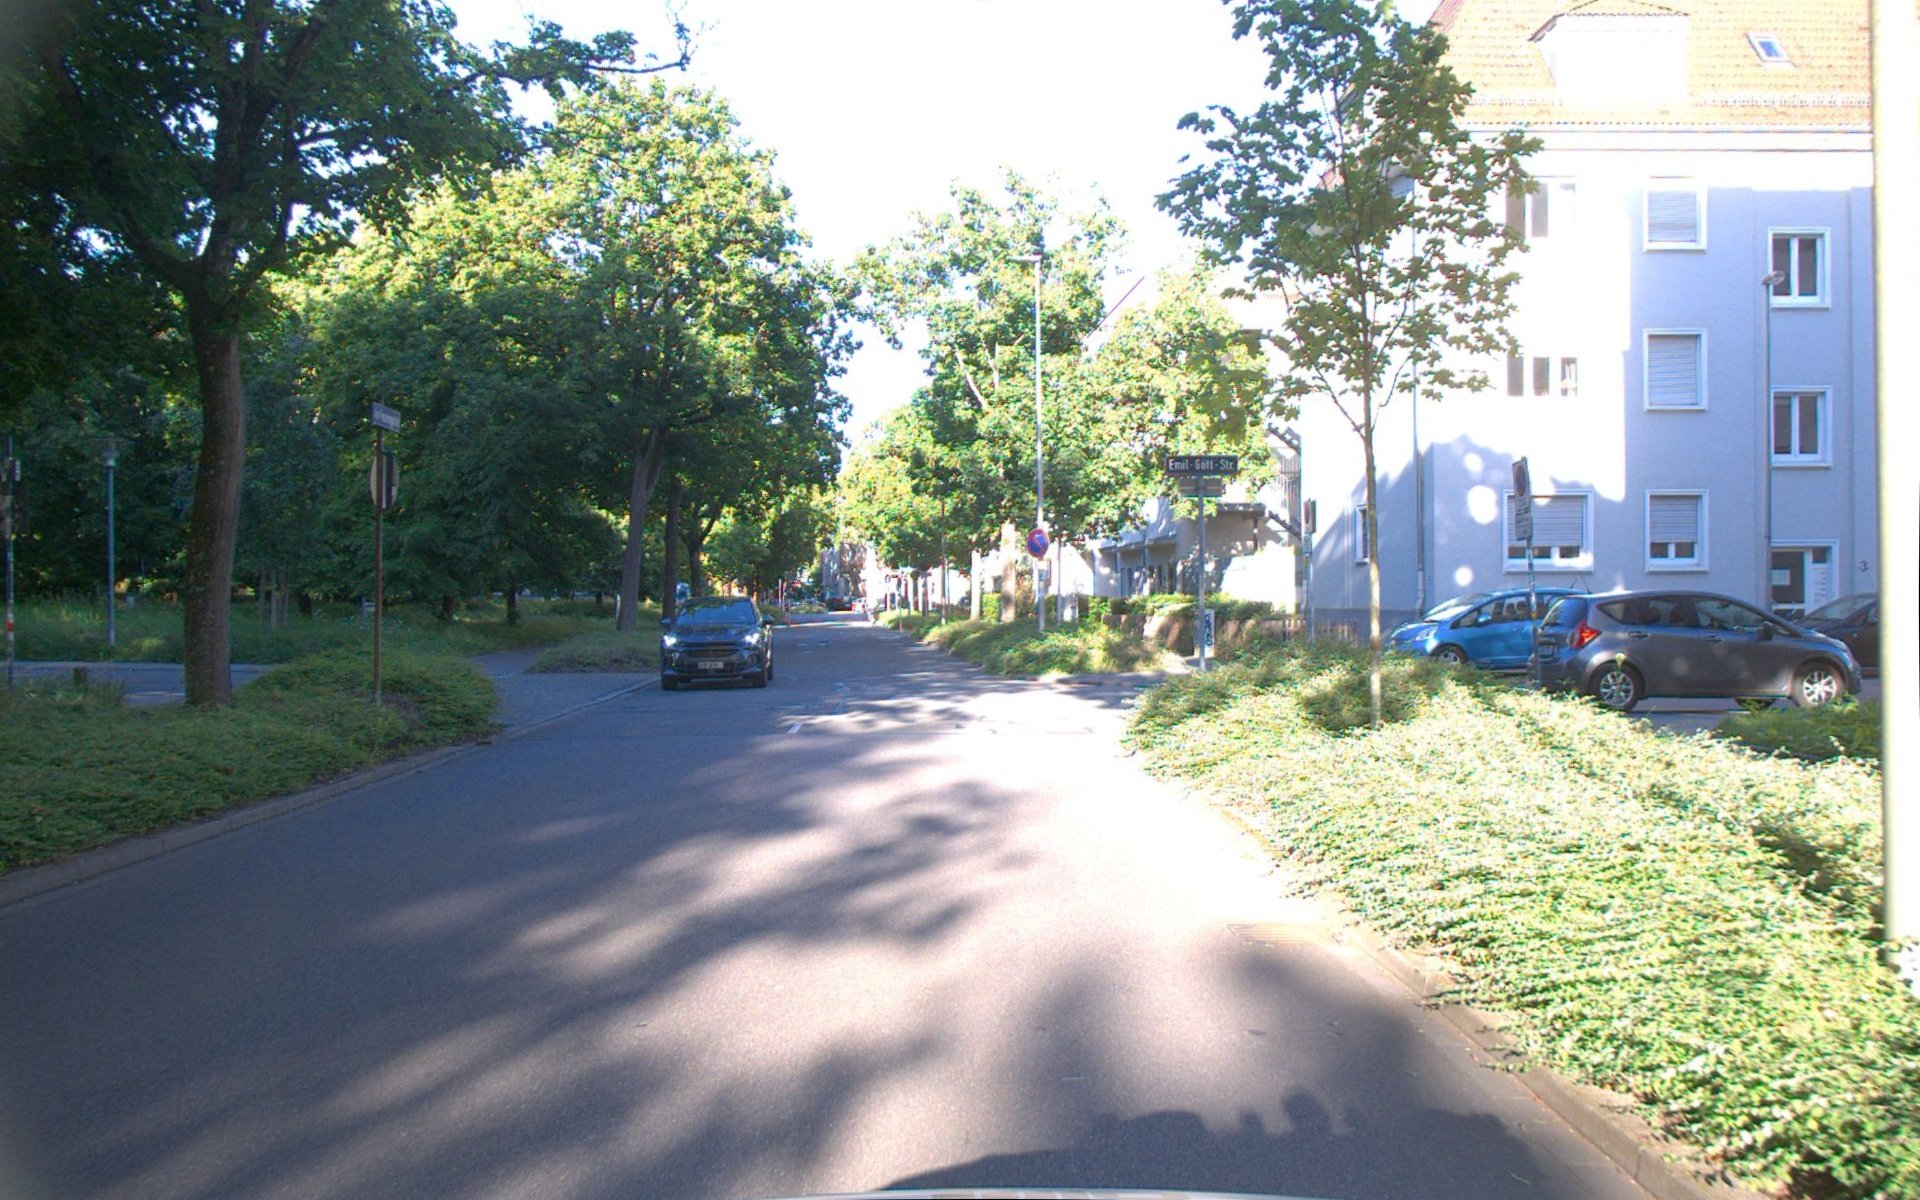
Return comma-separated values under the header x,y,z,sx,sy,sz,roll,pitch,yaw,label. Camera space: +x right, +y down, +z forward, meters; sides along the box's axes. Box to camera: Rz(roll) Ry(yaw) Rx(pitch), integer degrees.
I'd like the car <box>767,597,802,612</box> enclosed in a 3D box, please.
x,y,z,sx,sy,sz,roll,pitch,yaw,label
-18.181,0.446,171.390,3.525,1.537,1.495,1,0,-13,car

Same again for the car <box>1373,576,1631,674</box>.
x,y,z,sx,sy,sz,roll,pitch,yaw,label
9.409,0.408,28.897,3.909,1.609,1.808,0,1,-5,car

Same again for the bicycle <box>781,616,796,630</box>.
x,y,z,sx,sy,sz,roll,pitch,yaw,label
-9.660,1.293,93.248,0.626,0.755,2.125,-2,0,0,bicycle

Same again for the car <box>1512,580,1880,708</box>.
x,y,z,sx,sy,sz,roll,pitch,yaw,label
9.303,0.561,21.092,3.961,1.541,1.725,0,-1,-4,car

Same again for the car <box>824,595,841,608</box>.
x,y,z,sx,sy,sz,roll,pitch,yaw,label
-15.816,0.180,204.720,1.777,1.527,3.993,1,0,-8,car

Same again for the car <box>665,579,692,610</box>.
x,y,z,sx,sy,sz,roll,pitch,yaw,label
-23.373,-0.446,137.068,1.959,2.552,3.986,1,0,-13,car

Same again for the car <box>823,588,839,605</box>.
x,y,z,sx,sy,sz,roll,pitch,yaw,label
-16.731,-0.478,214.881,1.777,2.086,3.993,1,0,-8,car

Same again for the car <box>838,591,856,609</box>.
x,y,z,sx,sy,sz,roll,pitch,yaw,label
-13.009,-0.019,190.248,1.777,1.959,3.993,1,0,-8,car

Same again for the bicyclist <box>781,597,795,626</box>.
x,y,z,sx,sy,sz,roll,pitch,yaw,label
-9.680,0.646,93.258,0.620,1.582,1.002,-2,0,0,bicyclist

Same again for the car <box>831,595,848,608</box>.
x,y,z,sx,sy,sz,roll,pitch,yaw,label
-14.466,0.181,198.283,1.777,1.527,3.993,1,0,-8,car

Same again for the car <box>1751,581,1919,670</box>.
x,y,z,sx,sy,sz,roll,pitch,yaw,label
16.241,0.436,29.253,3.748,1.524,1.647,0,0,-3,car

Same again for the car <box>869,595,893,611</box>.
x,y,z,sx,sy,sz,roll,pitch,yaw,label
-7.738,0.283,161.960,1.779,1.527,3.988,-1,0,-12,car

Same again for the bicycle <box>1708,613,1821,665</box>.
x,y,z,sx,sy,sz,roll,pitch,yaw,label
15.155,0.733,31.154,1.924,0.942,0.483,1,1,-4,bicycle

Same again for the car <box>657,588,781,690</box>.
x,y,z,sx,sy,sz,roll,pitch,yaw,label
-4.229,0.627,29.617,1.808,1.606,4.333,-2,1,-4,car
